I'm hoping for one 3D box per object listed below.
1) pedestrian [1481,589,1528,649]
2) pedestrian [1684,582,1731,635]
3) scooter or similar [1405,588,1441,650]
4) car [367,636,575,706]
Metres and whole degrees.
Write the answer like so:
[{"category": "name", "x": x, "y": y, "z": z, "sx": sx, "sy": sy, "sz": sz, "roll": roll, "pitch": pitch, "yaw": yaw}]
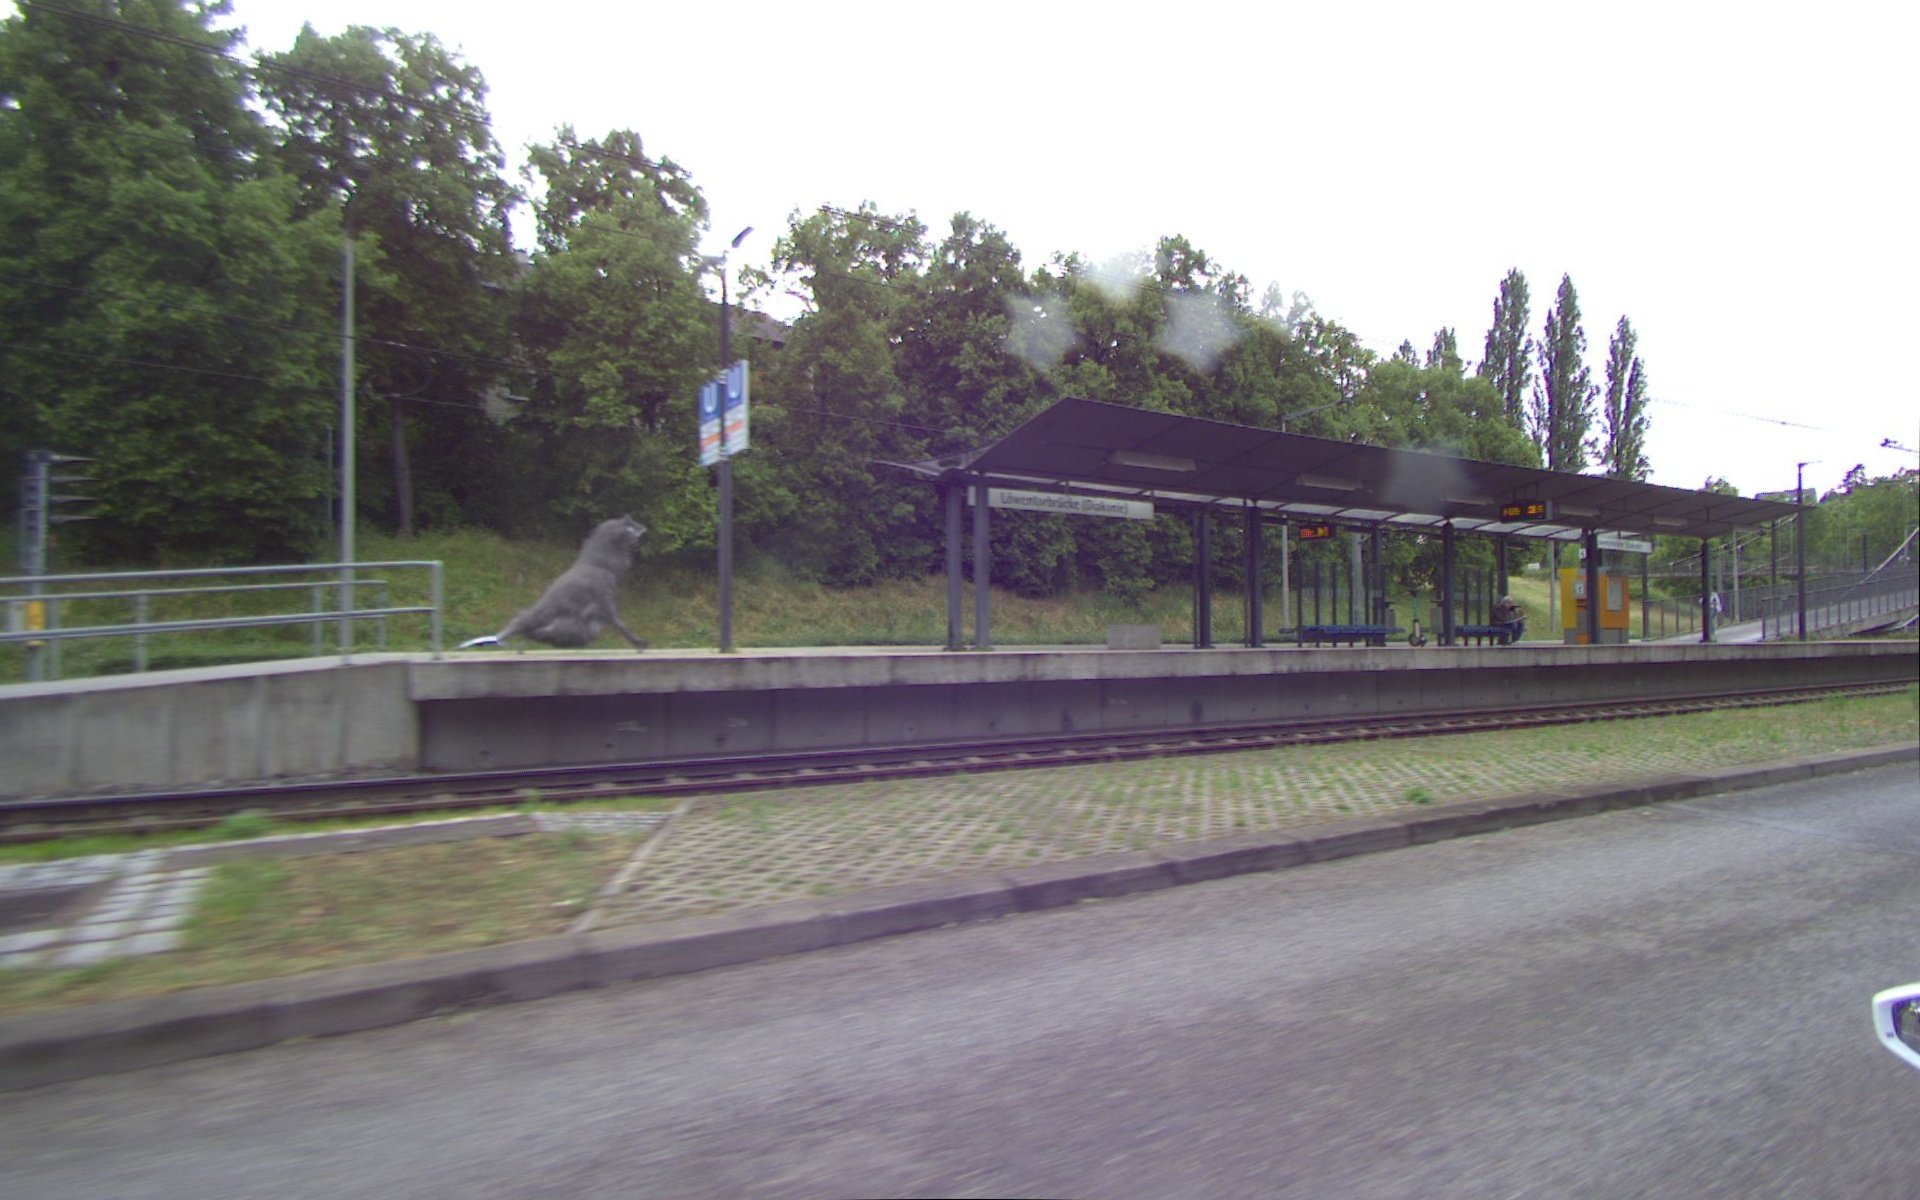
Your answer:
[{"category": "pedestrian", "x": 12.676, "y": 0.444, "z": 23.384, "sx": 0.685, "sy": 1.373, "sz": 0.748, "roll": 1, "pitch": -1, "yaw": -34}, {"category": "pedestrian", "x": 23.693, "y": 0.278, "z": 31.825, "sx": 1.016, "sy": 1.632, "sz": 0.929, "roll": 1, "pitch": -1, "yaw": -34}, {"category": "scooter or similar", "x": 9.674, "y": 0.393, "z": 21.022, "sx": 0.372, "sy": 1.234, "sz": 1.301, "roll": 2, "pitch": 0, "yaw": 13}, {"category": "car", "x": -10.964, "y": 1.534, "z": 22.629, "sx": 3.962, "sy": 1.422, "sz": 1.783, "roll": 2, "pitch": -1, "yaw": -36}]
